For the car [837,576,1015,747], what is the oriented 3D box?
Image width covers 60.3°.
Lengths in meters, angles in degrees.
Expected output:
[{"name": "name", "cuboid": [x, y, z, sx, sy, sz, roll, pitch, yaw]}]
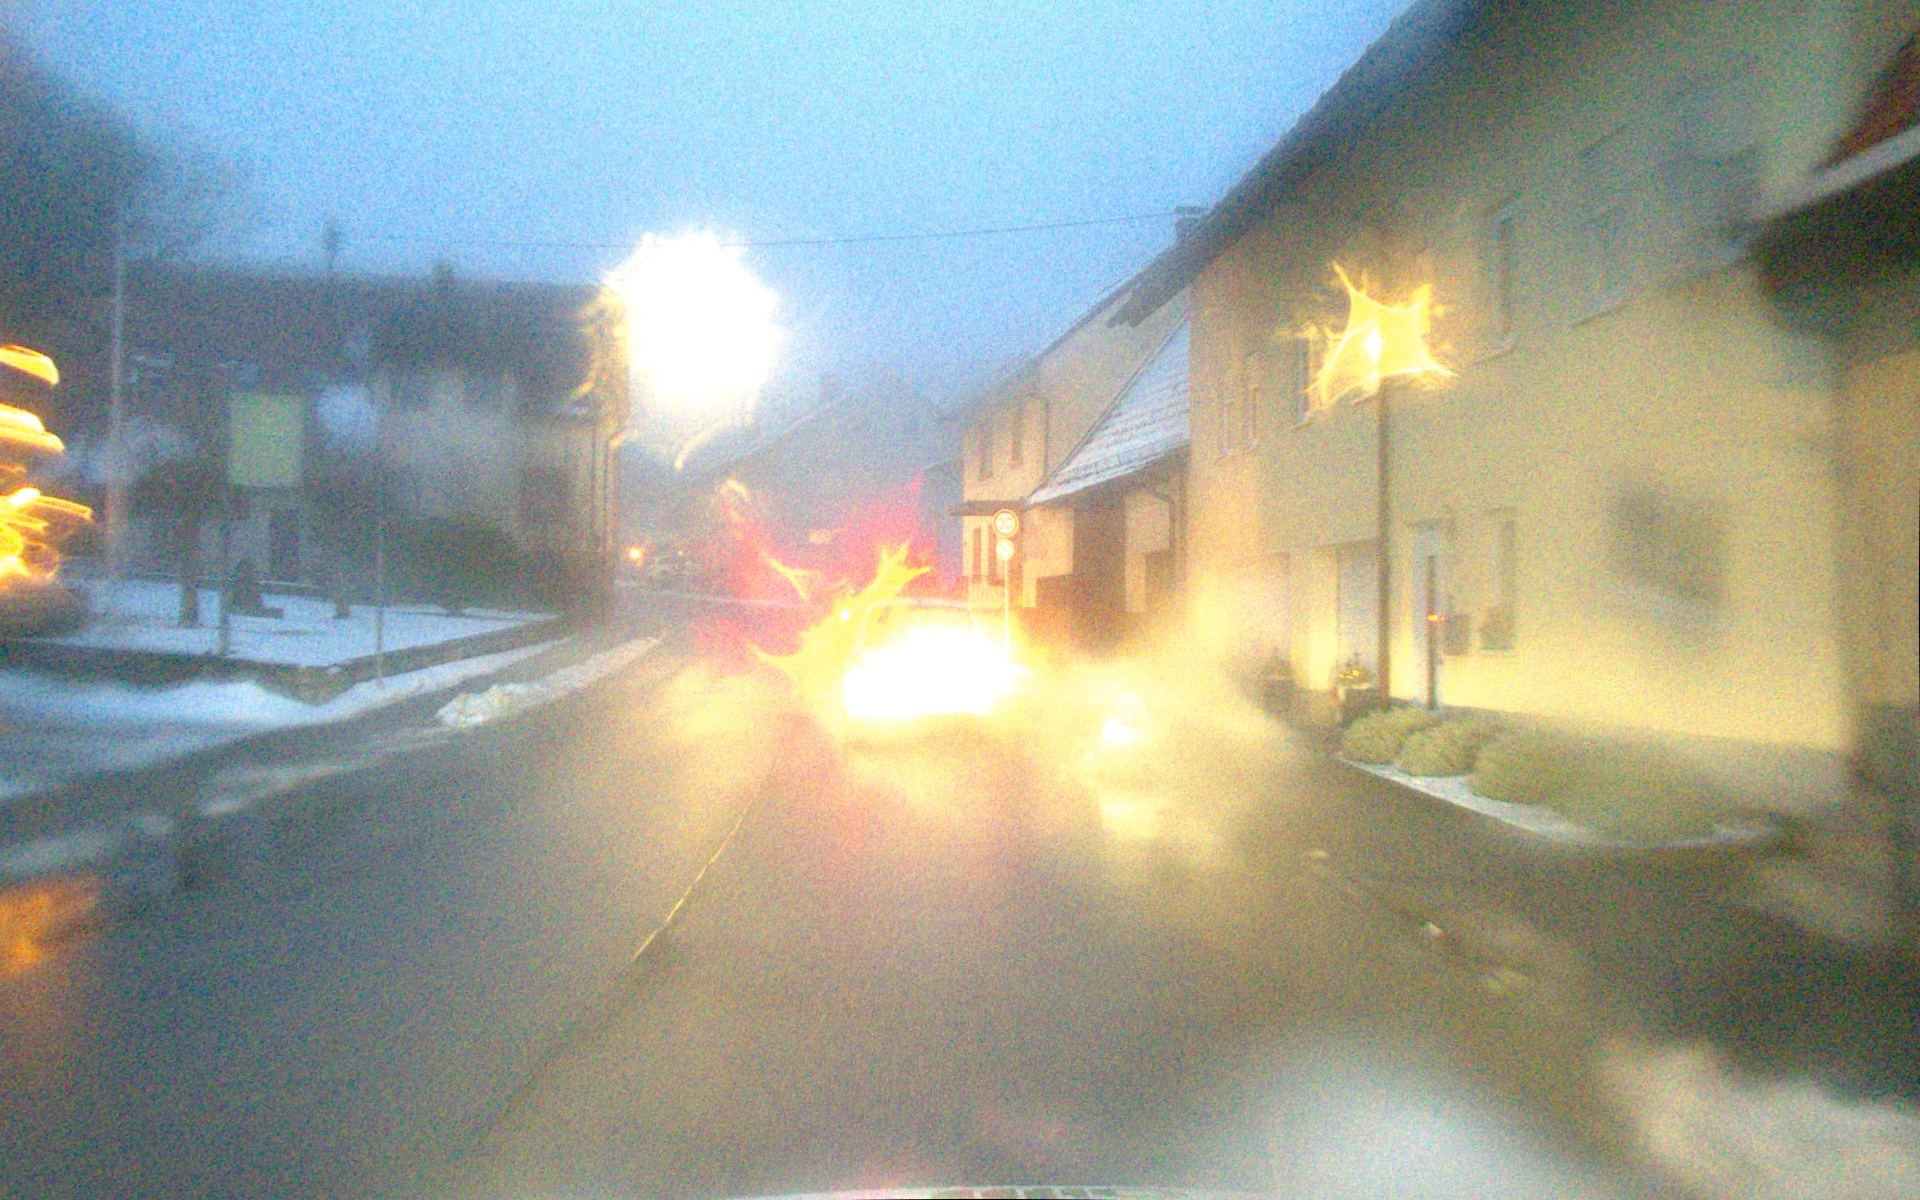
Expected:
[{"name": "car", "cuboid": [-0.459, 0.627, 17.994, 1.613, 1.624, 3.695, 2, -1, -6]}]

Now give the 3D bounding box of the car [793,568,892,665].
[{"name": "car", "cuboid": [-2.198, 0.311, 30.230, 1.614, 1.624, 3.694, 2, -1, -6]}]
